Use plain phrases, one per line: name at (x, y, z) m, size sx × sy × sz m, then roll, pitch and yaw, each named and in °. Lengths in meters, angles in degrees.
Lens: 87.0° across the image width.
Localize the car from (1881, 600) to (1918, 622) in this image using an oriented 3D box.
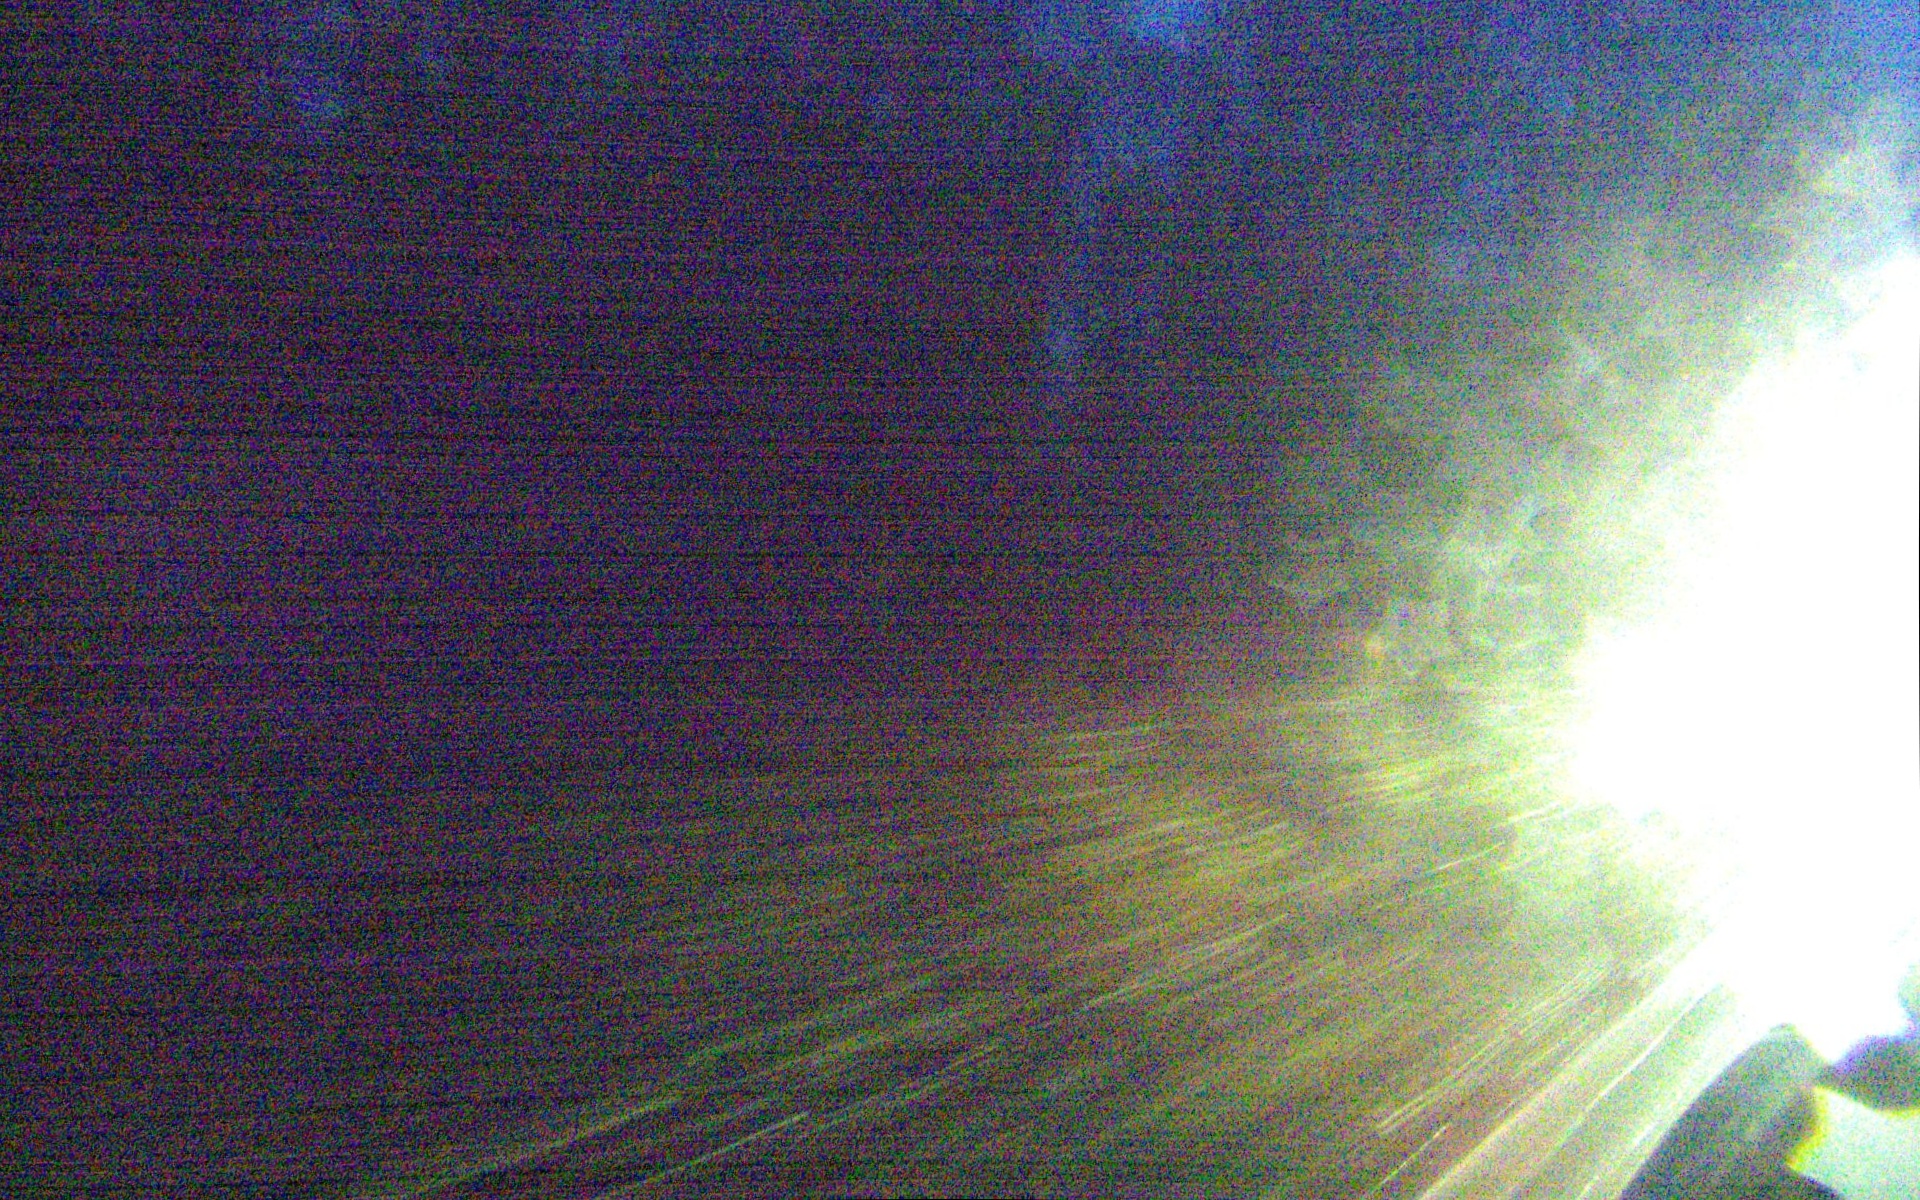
car at (76.245, 0.858, 82.180) m, size 1.895 × 1.579 × 3.941 m, roll 5°, pitch 3°, yaw 40°
